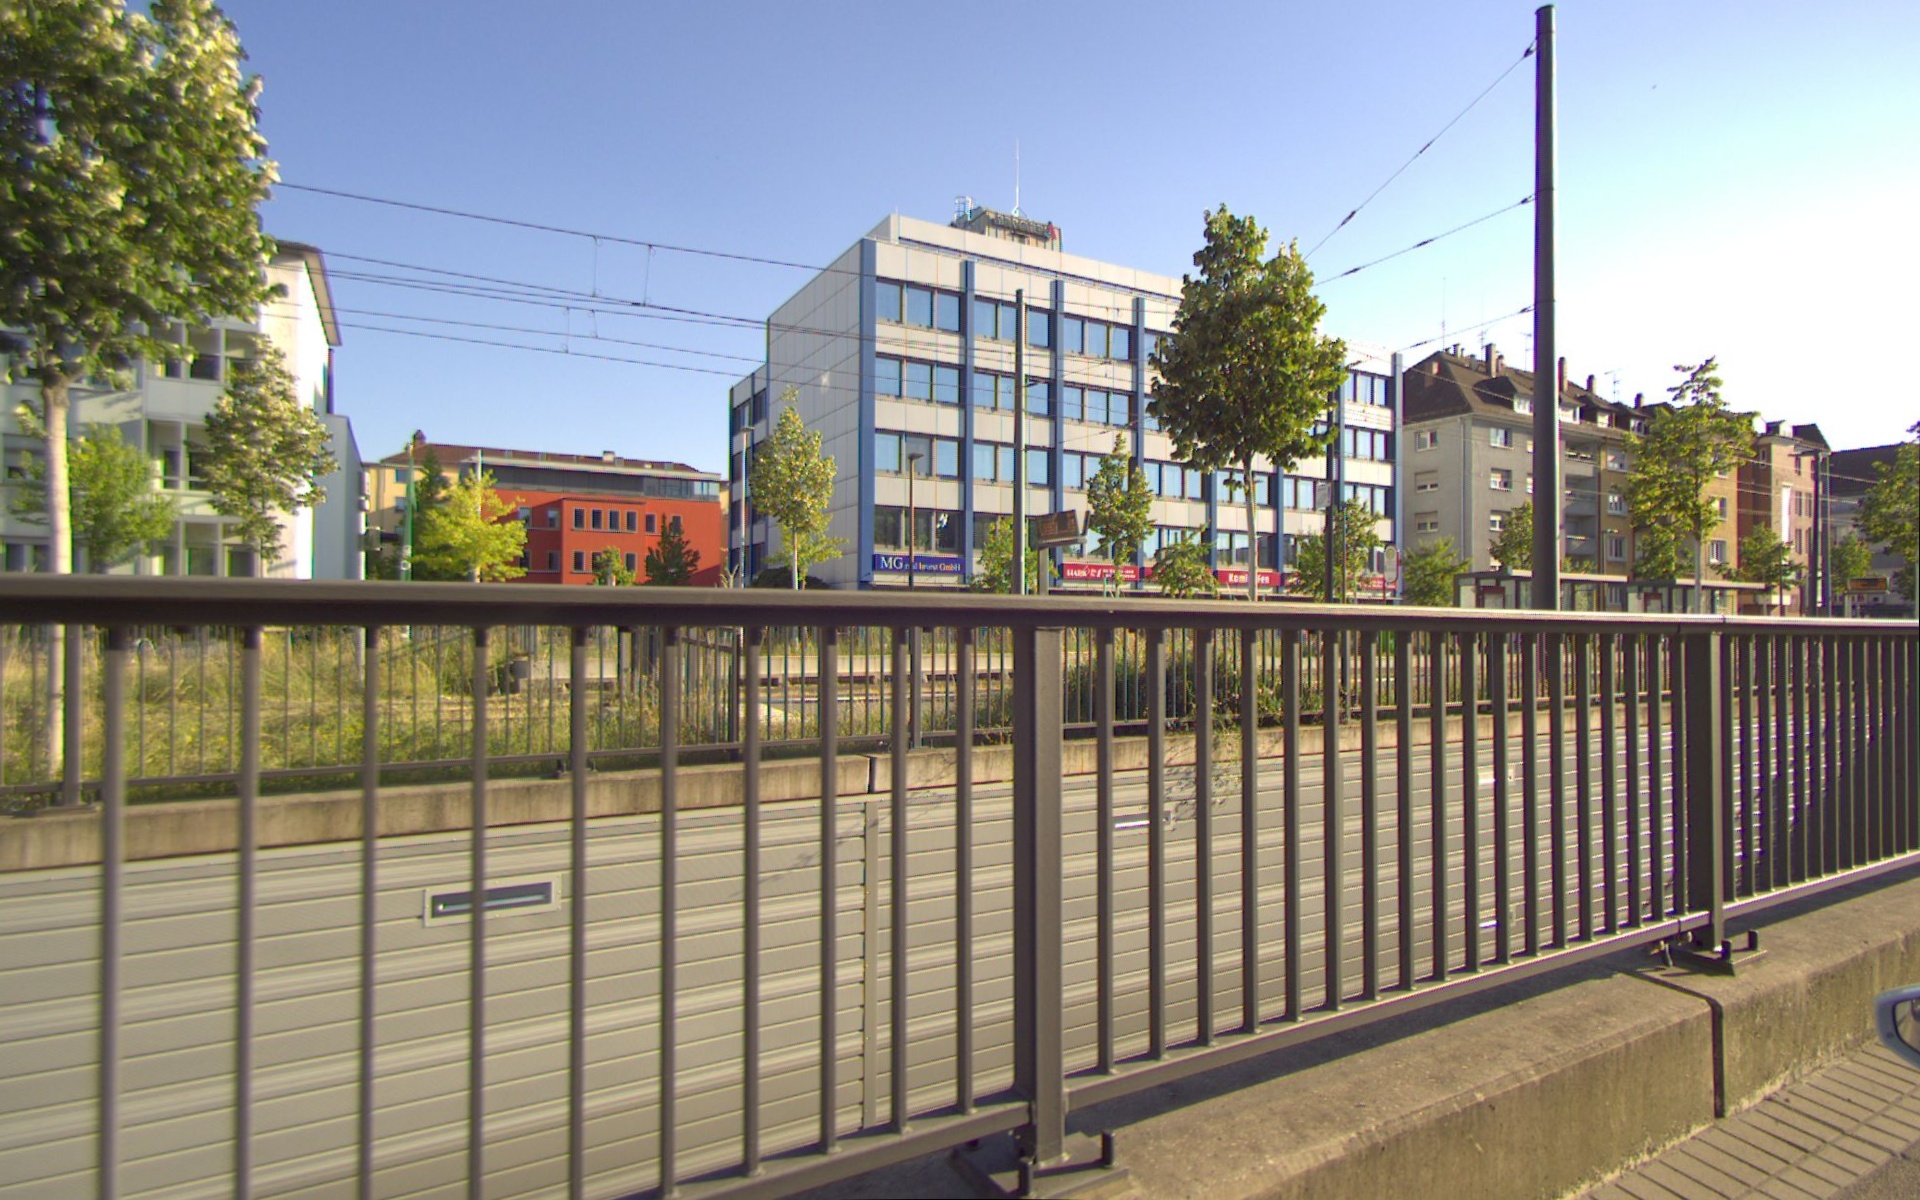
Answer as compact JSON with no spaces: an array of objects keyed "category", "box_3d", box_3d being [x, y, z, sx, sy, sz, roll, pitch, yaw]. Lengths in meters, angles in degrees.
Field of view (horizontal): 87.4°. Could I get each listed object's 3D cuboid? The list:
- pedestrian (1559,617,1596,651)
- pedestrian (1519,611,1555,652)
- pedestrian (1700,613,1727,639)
[{"category":"pedestrian","box_3d":[22.552,1.222,36.696,0.755,1.213,0.929,1,-1,-30]},{"category":"pedestrian","box_3d":[20.349,1.111,35.432,0.794,1.429,0.834,1,-1,-30]},{"category":"pedestrian","box_3d":[31.052,1.077,41.400,0.785,1.061,0.624,1,-1,-30]}]
